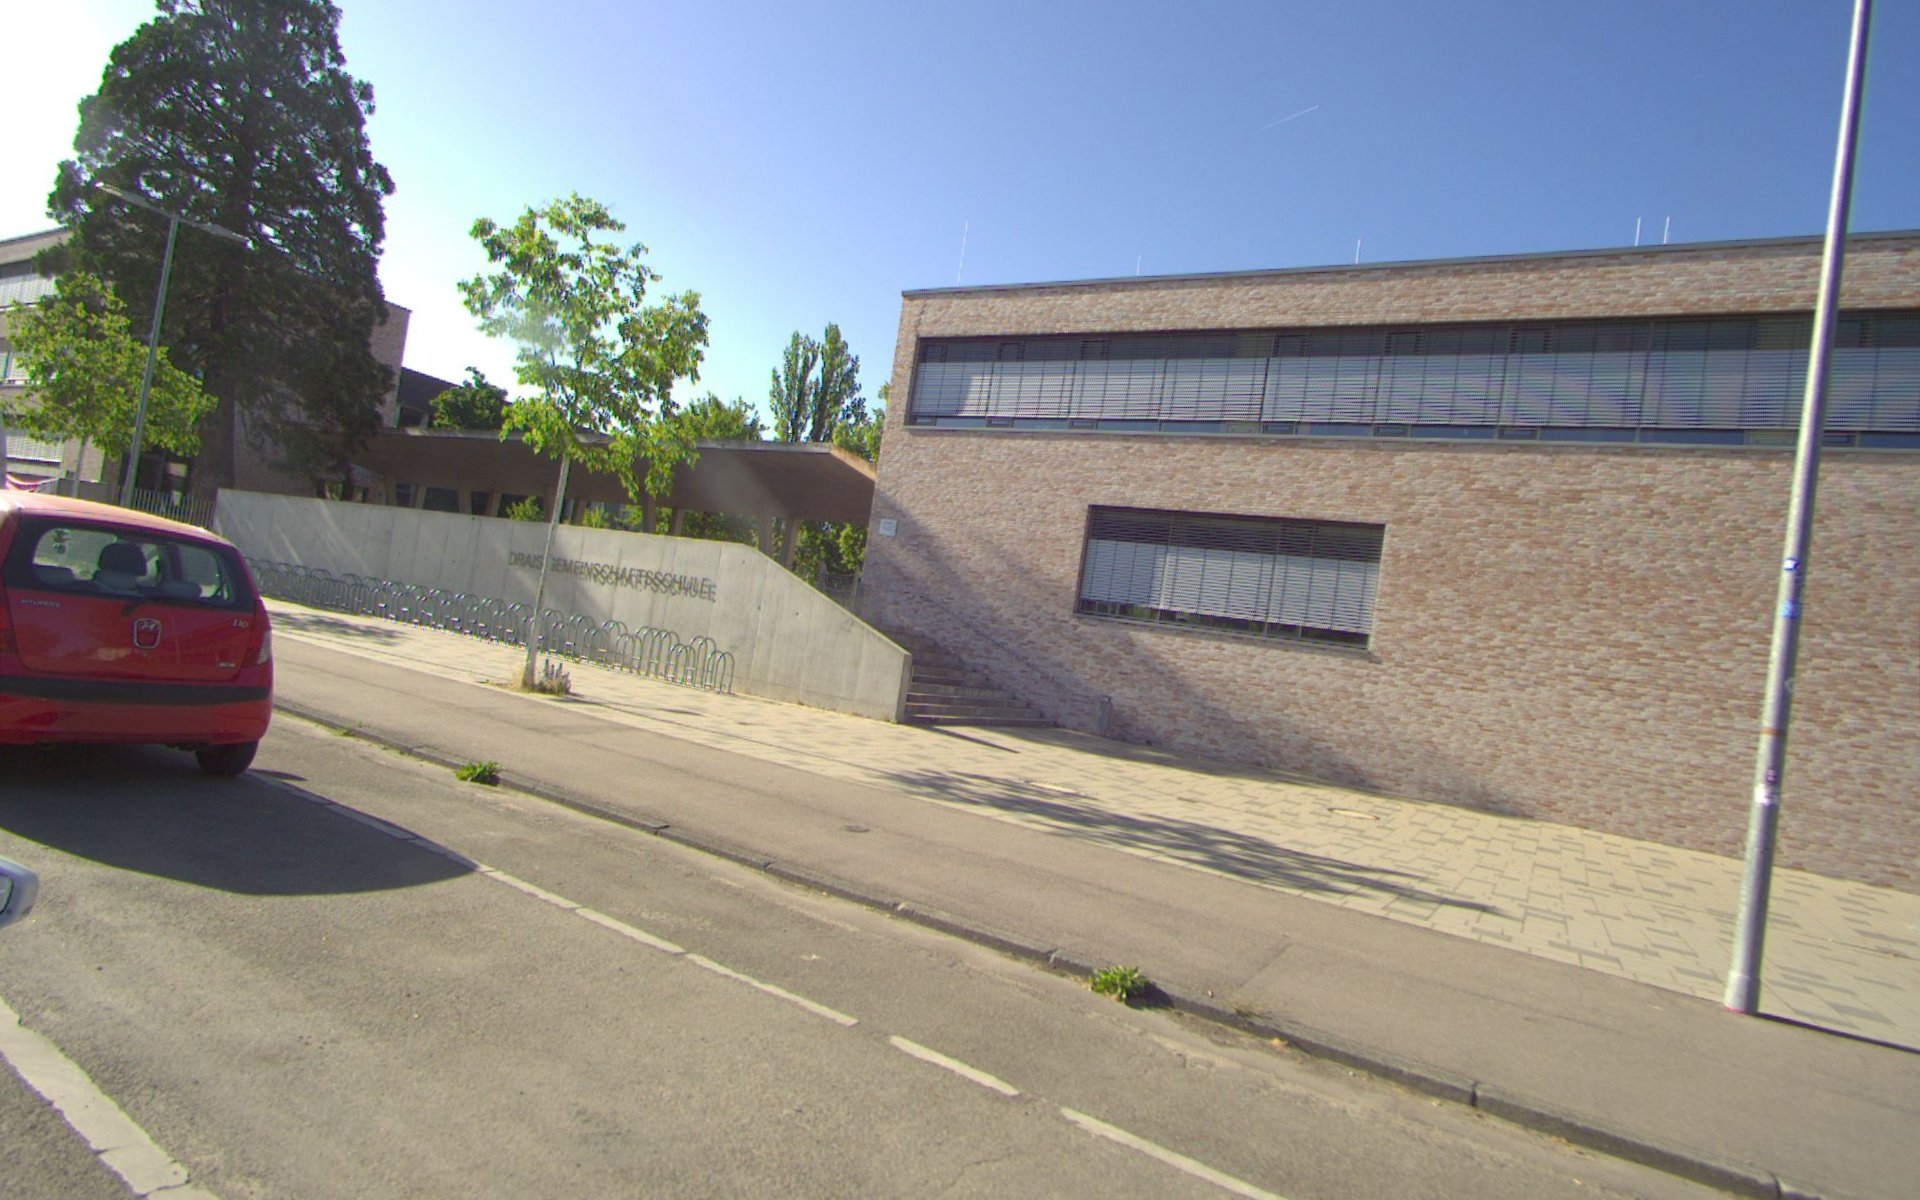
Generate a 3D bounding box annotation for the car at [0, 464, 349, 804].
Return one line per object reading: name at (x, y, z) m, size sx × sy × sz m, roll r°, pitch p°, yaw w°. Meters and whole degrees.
car at (-5.723, 0.055, 6.235) m, size 3.530 × 1.606 × 1.624 m, roll 8°, pitch -2°, yaw 30°

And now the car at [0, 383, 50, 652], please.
car at (-12.136, -1.190, 10.516) m, size 5.342 × 2.602 × 2.247 m, roll 7°, pitch -3°, yaw 32°
